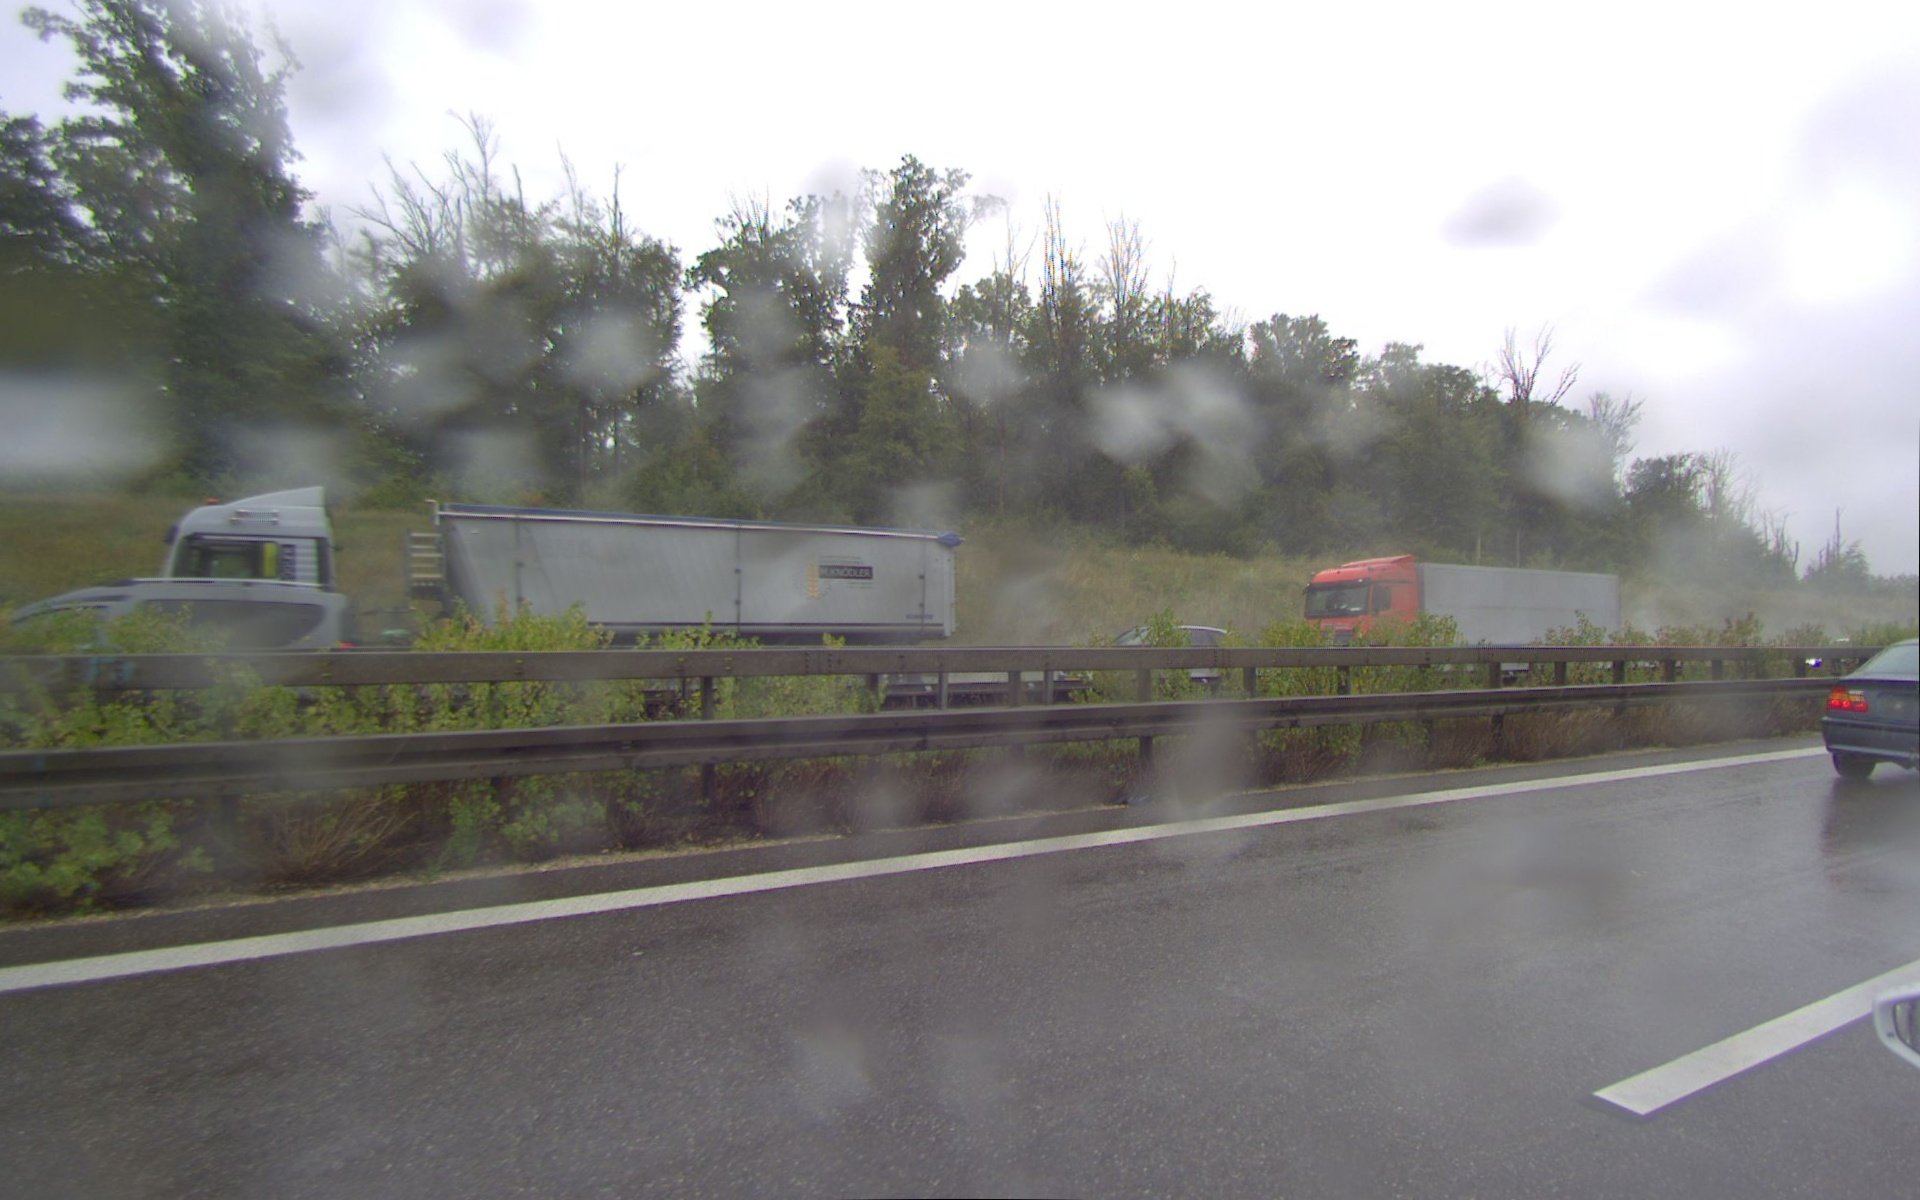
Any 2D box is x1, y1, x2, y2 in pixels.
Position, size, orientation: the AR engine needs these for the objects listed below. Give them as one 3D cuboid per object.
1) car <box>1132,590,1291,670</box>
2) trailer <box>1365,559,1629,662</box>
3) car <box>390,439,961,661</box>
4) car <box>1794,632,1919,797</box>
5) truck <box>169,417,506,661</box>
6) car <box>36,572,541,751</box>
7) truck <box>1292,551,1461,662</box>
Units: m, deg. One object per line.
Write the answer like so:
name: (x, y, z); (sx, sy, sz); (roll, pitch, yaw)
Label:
car: (6.885, 0.773, 27.459); (3.953, 2.040, 1.984); (1, 0, -30)
trailer: (18.835, 0.455, 34.831); (10.952, 3.193, 2.674); (2, 0, -30)
car: (-5.331, -0.699, 20.475); (10.847, 3.659, 2.673); (2, 0, -31)
car: (10.200, 1.061, 9.856); (4.178, 1.418, 1.710); (1, -1, -29)
truck: (-10.503, -0.865, 17.359); (4.552, 3.659, 2.673); (2, 0, -31)
car: (-6.708, 0.543, 10.524); (4.035, 1.534, 1.983); (1, 0, -32)
truck: (13.045, 0.234, 31.454); (4.552, 3.193, 2.673); (2, 0, -31)
